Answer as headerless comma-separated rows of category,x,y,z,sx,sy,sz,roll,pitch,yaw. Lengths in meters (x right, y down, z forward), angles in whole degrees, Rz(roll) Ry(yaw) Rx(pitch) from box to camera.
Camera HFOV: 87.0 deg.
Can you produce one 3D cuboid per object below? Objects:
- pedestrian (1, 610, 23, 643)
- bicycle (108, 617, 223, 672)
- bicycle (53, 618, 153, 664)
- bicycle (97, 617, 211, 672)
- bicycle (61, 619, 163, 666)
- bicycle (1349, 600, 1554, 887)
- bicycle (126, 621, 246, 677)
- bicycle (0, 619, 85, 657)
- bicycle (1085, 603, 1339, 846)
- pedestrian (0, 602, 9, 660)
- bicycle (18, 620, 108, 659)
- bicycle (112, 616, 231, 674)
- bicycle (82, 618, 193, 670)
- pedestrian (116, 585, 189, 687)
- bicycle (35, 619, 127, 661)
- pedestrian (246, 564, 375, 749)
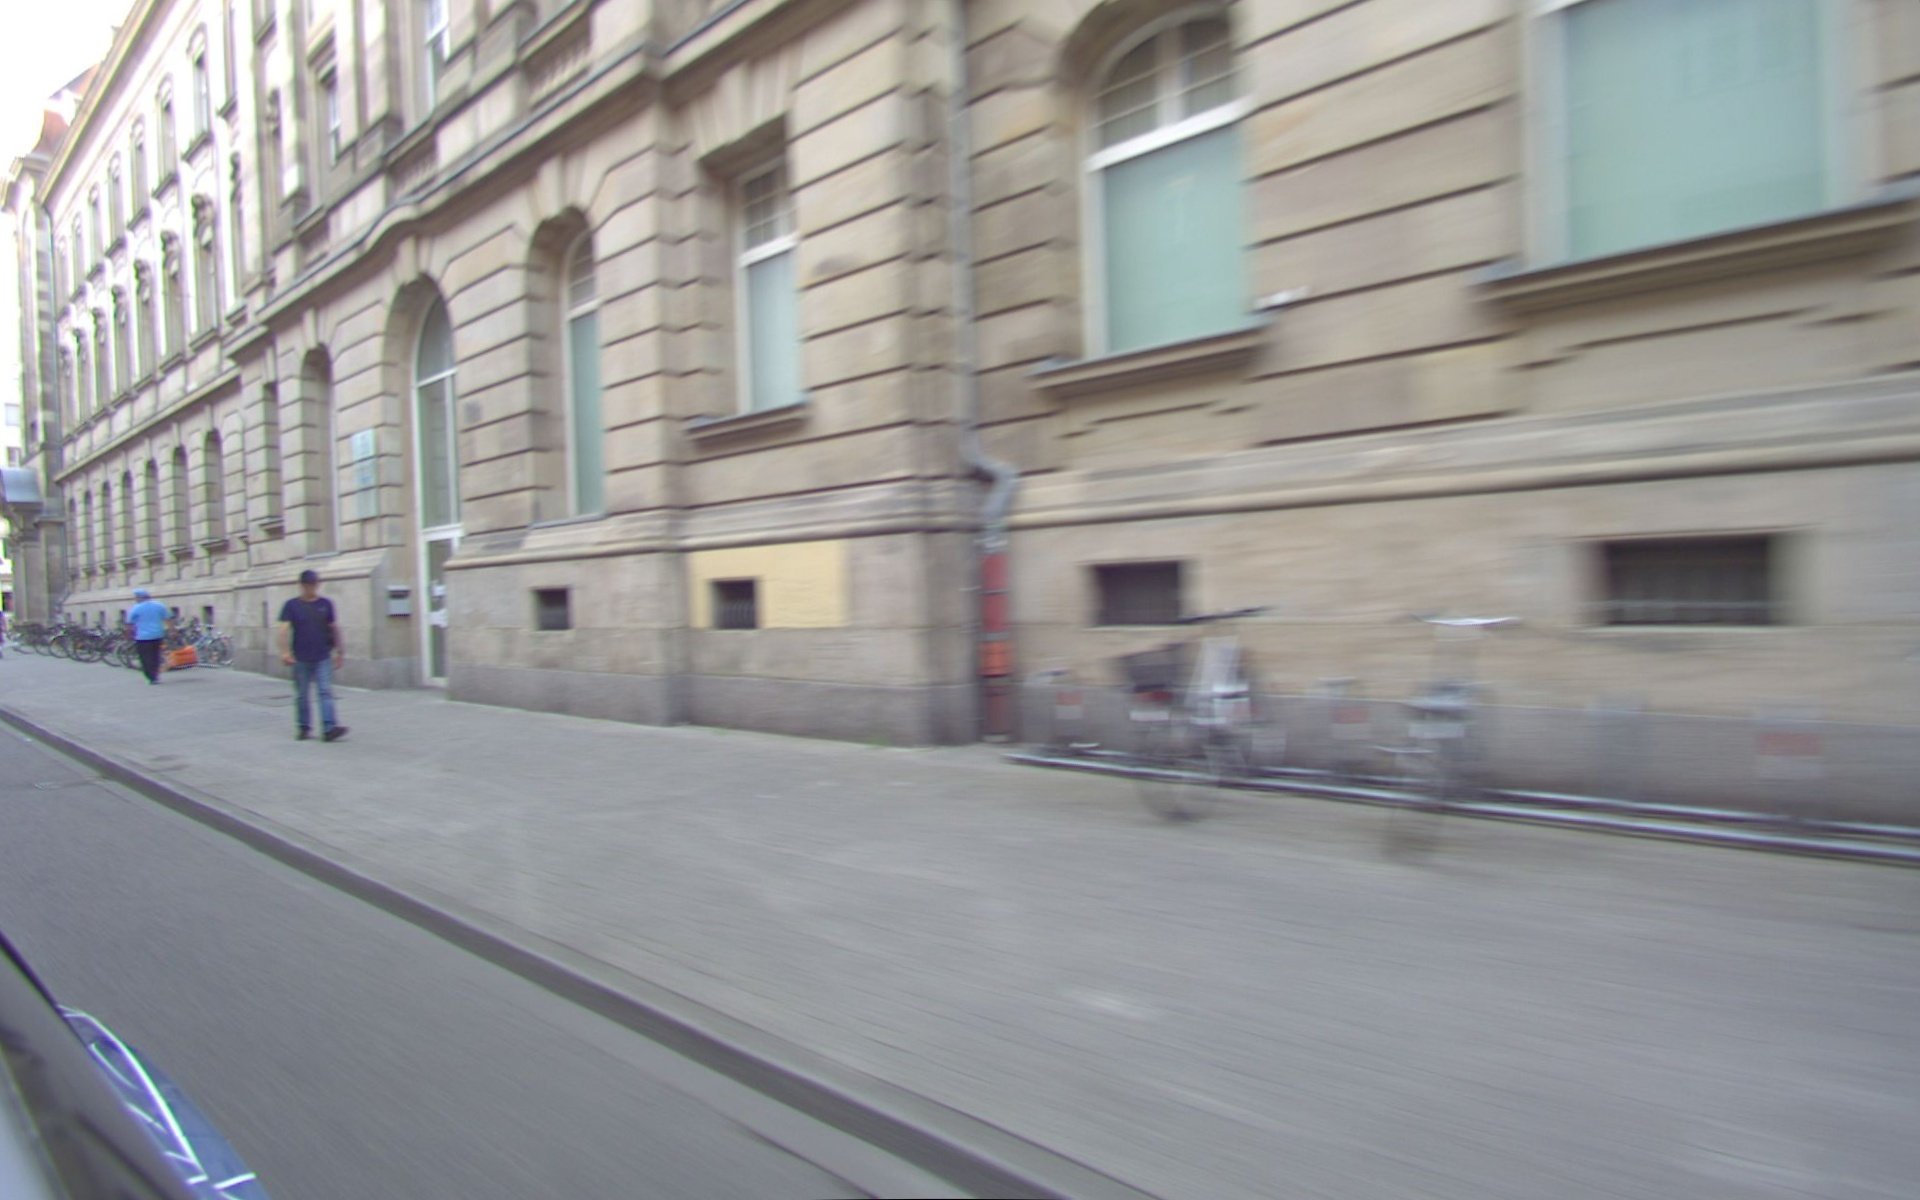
pedestrian,-49.227,1.394,52.555,0.753,1.672,0.734,-2,0,41
bicycle,-18.342,1.009,23.406,0.728,1.086,1.921,-1,3,34
bicycle,-23.585,1.101,27.886,0.728,1.086,1.921,-1,3,34
bicycle,-18.966,1.027,23.863,0.728,1.086,1.921,-1,3,34
bicycle,-22.680,1.113,27.115,0.728,1.086,1.921,-1,3,34
bicycle,2.529,0.590,5.080,0.618,1.069,1.921,-1,2,35
bicycle,-16.734,1.037,21.924,0.720,1.053,1.918,-2,1,36
bicycle,-31.044,1.272,34.257,0.728,1.117,2.002,-1,3,34
bicycle,1.516,0.608,5.815,0.619,1.069,1.918,-1,2,40
pedestrian,-30.220,0.990,31.480,0.766,1.802,0.822,-3,1,-38
bicycle,-28.763,1.256,32.506,0.725,1.086,2.011,-2,3,21
bicycle,-17.477,0.971,22.473,0.747,1.086,1.918,-1,3,40
bicycle,-20.009,1.045,24.667,0.728,1.086,1.921,-1,3,34
pedestrian,-14.733,0.642,18.461,0.768,1.758,0.820,-2,3,41
bicycle,-26.207,1.175,30.211,0.729,1.086,1.921,-1,3,35
pedestrian,-6.650,0.537,10.359,0.969,1.763,0.801,-1,2,41
